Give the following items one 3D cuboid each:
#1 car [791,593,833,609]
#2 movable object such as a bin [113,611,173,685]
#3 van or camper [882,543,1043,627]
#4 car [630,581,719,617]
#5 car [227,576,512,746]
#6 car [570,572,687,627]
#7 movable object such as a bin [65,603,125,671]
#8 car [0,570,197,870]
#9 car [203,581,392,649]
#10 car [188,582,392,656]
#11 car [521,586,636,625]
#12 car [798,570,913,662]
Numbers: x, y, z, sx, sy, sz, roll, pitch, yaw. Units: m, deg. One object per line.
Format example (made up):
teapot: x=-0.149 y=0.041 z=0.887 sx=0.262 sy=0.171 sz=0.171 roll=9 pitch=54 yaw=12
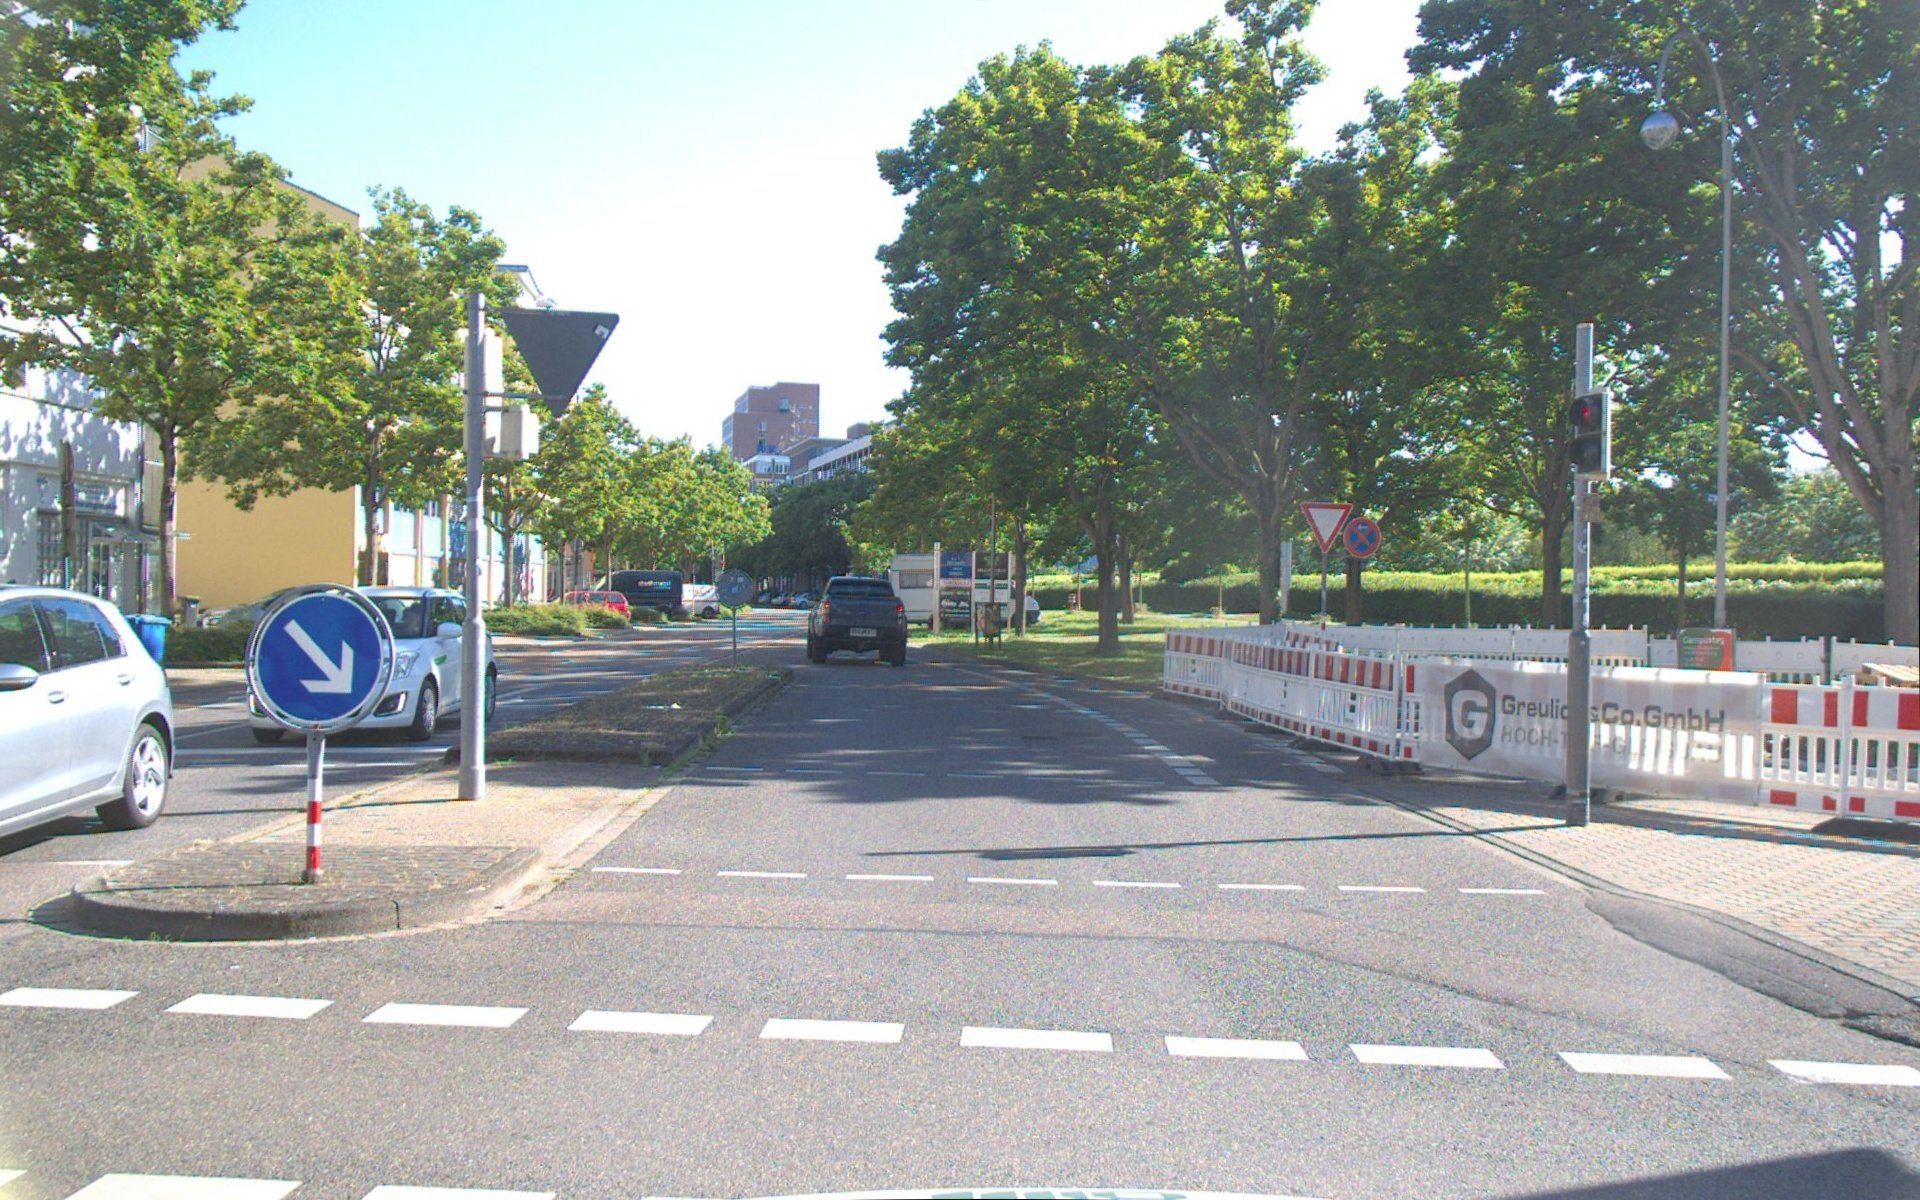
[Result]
car: x=-14.307 y=0.110 z=160.307 sx=3.878 sy=1.421 sz=1.512 roll=-2 pitch=0 yaw=-12
movable object such as a bin: x=-12.166 y=0.702 z=24.641 sx=0.503 sy=1.066 sz=0.639 roll=1 pitch=0 yaw=7
van or camper: x=0.040 y=-0.558 z=63.571 sx=5.959 sy=2.980 sz=2.573 roll=-2 pitch=0 yaw=-4
car: x=-16.846 y=-0.050 z=97.679 sx=4.849 sy=2.119 sz=1.959 roll=0 pitch=0 yaw=-38
car: x=-5.983 y=0.549 z=17.225 sx=1.670 sy=1.539 sz=3.861 roll=-1 pitch=0 yaw=-2
car: x=-15.972 y=-0.011 z=79.675 sx=5.201 sy=2.590 sz=1.967 roll=0 pitch=0 yaw=-29
movable object such as a bin: x=-12.980 y=0.546 z=24.821 sx=0.503 sy=0.993 sz=0.639 roll=1 pitch=0 yaw=7
car: x=-5.595 y=0.577 z=8.613 sx=1.674 sy=1.477 sz=3.847 roll=1 pitch=0 yaw=-4
car: x=-15.675 y=0.364 z=39.186 sx=3.840 sy=1.536 sz=1.806 roll=1 pitch=-1 yaw=-35
car: x=-14.698 y=0.432 z=36.352 sx=3.841 sy=1.536 sz=1.806 roll=1 pitch=-1 yaw=-36
car: x=-15.917 y=0.222 z=68.993 sx=4.356 sy=1.579 sz=1.904 roll=0 pitch=0 yaw=-28
car: x=-2.379 y=0.313 z=36.422 sx=2.093 sy=1.867 sz=4.930 roll=1 pitch=0 yaw=-9
